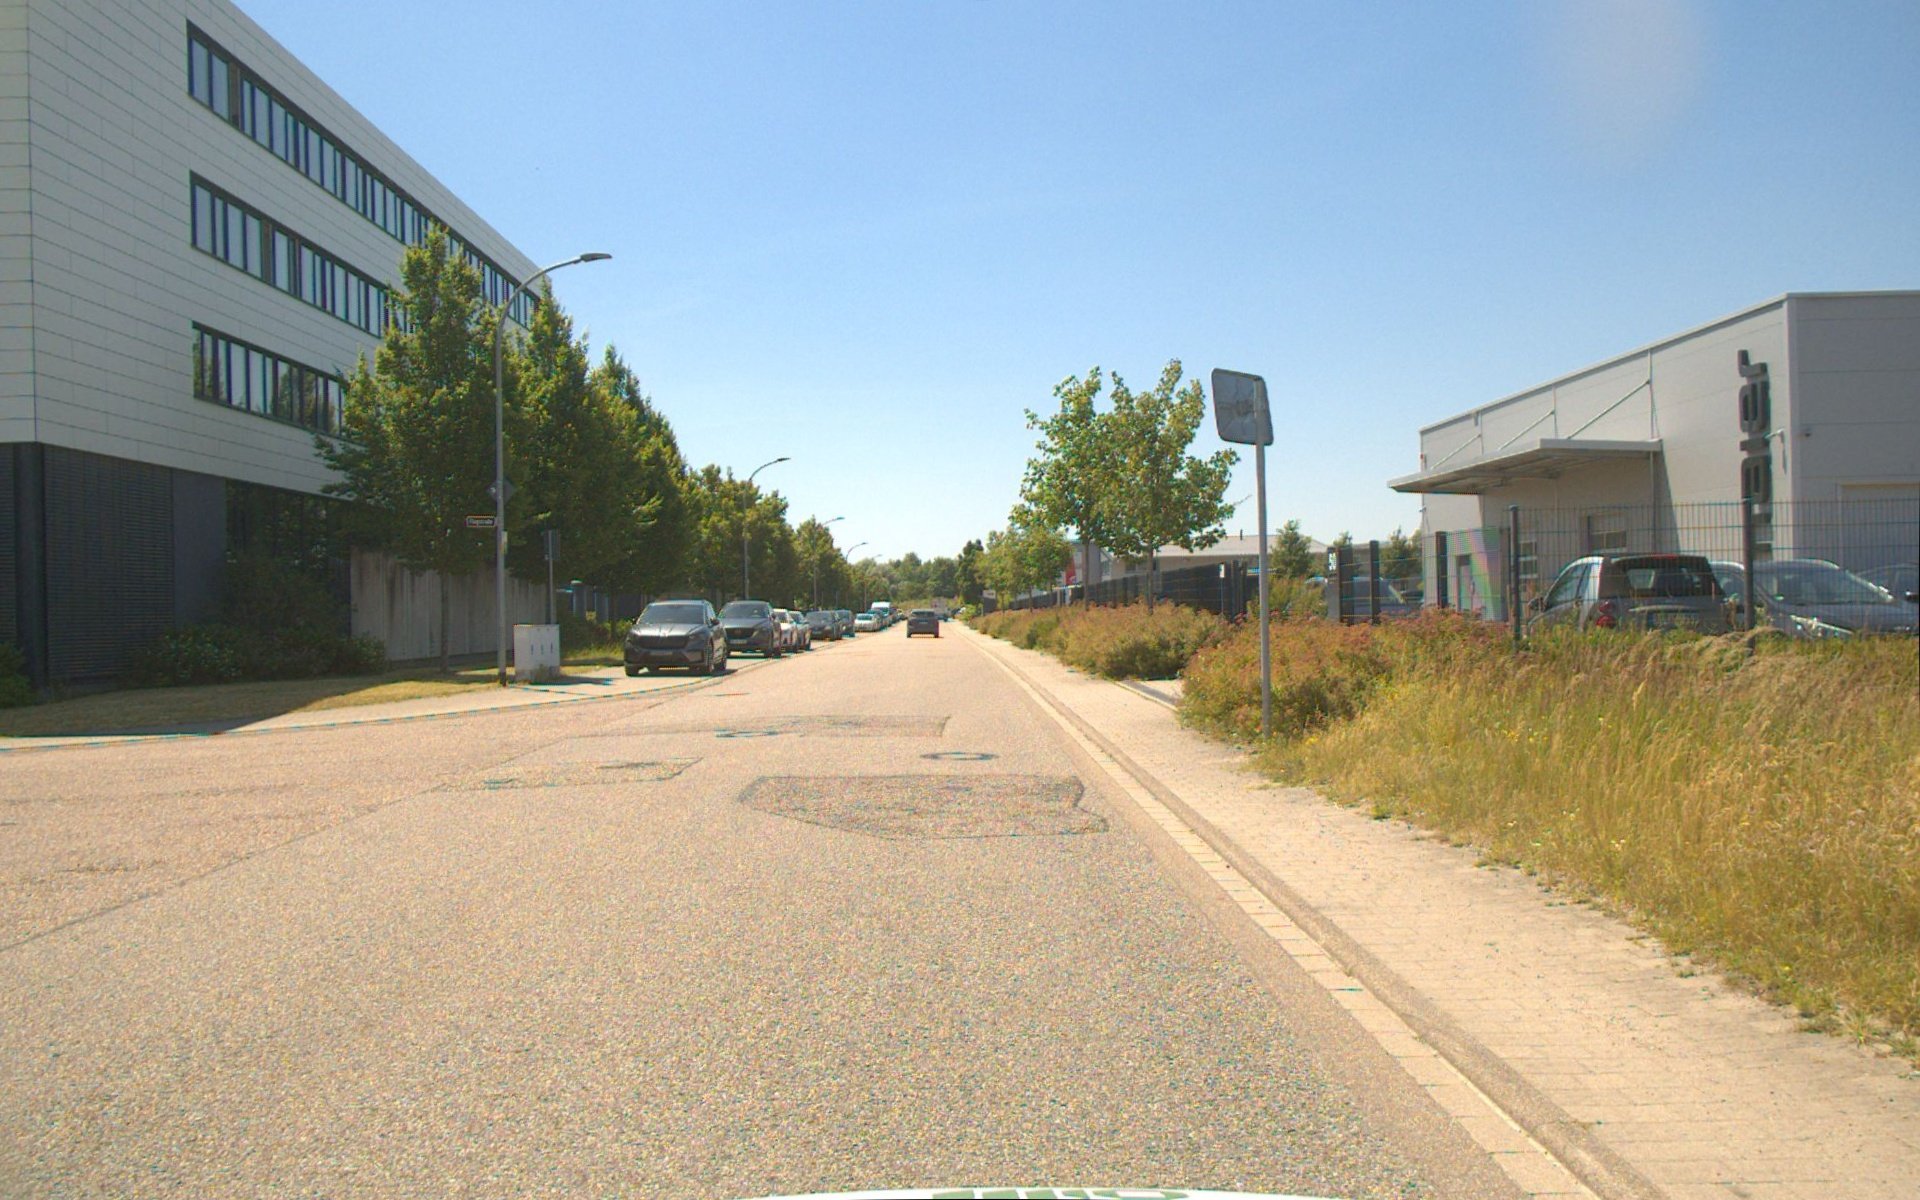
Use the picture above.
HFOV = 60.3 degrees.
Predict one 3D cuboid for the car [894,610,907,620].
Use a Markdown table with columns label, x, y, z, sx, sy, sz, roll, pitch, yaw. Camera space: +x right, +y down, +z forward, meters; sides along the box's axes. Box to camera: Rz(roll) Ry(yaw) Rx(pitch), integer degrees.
| label | x | y | z | sx | sy | sz | roll | pitch | yaw |
| --- | --- | --- | --- | --- | --- | --- | --- | --- | --- |
| car | -9.177 | 2.272 | 253.668 | 1.762 | 1.513 | 4.252 | -1 | 0 | 1 |

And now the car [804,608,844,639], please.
| label | x | y | z | sx | sy | sz | roll | pitch | yaw |
| --- | --- | --- | --- | --- | --- | --- | --- | --- | --- |
| car | -6.906 | 1.167 | 84.427 | 1.735 | 1.456 | 4.200 | -1 | 1 | -1 |

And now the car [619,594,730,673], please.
| label | x | y | z | sx | sy | sz | roll | pitch | yaw |
| --- | --- | --- | --- | --- | --- | --- | --- | --- | --- |
| car | -6.271 | 0.719 | 36.790 | 1.735 | 1.615 | 4.480 | -1 | -1 | -1 |

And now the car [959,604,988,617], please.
| label | x | y | z | sx | sy | sz | roll | pitch | yaw |
| --- | --- | --- | --- | --- | --- | --- | --- | --- | --- |
| car | 1.773 | 1.435 | 222.585 | 3.799 | 1.780 | 1.750 | 1 | -1 | -4 |

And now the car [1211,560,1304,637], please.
| label | x | y | z | sx | sy | sz | roll | pitch | yaw |
| --- | --- | --- | --- | --- | --- | --- | --- | --- | --- |
| car | 8.764 | -0.034 | 49.014 | 1.839 | 2.123 | 4.224 | -3 | 0 | -1 |

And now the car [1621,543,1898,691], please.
| label | x | y | z | sx | sy | sz | roll | pitch | yaw |
| --- | --- | --- | --- | --- | --- | --- | --- | --- | --- |
| car | 9.190 | 0.199 | 19.300 | 1.484 | 1.522 | 3.330 | -2 | -1 | -2 |

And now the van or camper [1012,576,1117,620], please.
| label | x | y | z | sx | sy | sz | roll | pitch | yaw |
| --- | --- | --- | --- | --- | --- | --- | --- | --- | --- |
| van or camper | 6.788 | -0.110 | 107.971 | 6.621 | 2.630 | 2.635 | -2 | -1 | -2 |

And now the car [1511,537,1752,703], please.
| label | x | y | z | sx | sy | sz | roll | pitch | yaw |
| --- | --- | --- | --- | --- | --- | --- | --- | --- | --- |
| car | 7.143 | 0.212 | 17.830 | 1.437 | 1.601 | 2.661 | -2 | -1 | -1 |

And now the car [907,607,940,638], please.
| label | x | y | z | sx | sy | sz | roll | pitch | yaw |
| --- | --- | --- | --- | --- | --- | --- | --- | --- | --- |
| car | -2.024 | 1.253 | 92.494 | 1.753 | 1.652 | 3.808 | 1 | -1 | -1 |

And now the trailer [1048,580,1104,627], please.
| label | x | y | z | sx | sy | sz | roll | pitch | yaw |
| --- | --- | --- | --- | --- | --- | --- | --- | --- | --- |
| trailer | 6.416 | 0.181 | 91.639 | 2.767 | 2.445 | 1.418 | -3 | -1 | -5 |

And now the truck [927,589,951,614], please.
| label | x | y | z | sx | sy | sz | roll | pitch | yaw |
| --- | --- | --- | --- | --- | --- | --- | --- | --- | --- |
| truck | -2.597 | 0.228 | 207.342 | 2.873 | 3.026 | 6.418 | 1 | -1 | -1 |

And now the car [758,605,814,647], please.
| label | x | y | z | sx | sy | sz | roll | pitch | yaw |
| --- | --- | --- | --- | --- | --- | --- | --- | --- | --- |
| car | -6.482 | 0.936 | 61.930 | 1.735 | 1.456 | 3.939 | -1 | 1 | -1 |

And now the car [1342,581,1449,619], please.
| label | x | y | z | sx | sy | sz | roll | pitch | yaw |
| --- | --- | --- | --- | --- | --- | --- | --- | --- | --- |
| car | 18.195 | 0.010 | 69.212 | 3.907 | 1.427 | 1.818 | -2 | -1 | -2 |

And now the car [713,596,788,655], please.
| label | x | y | z | sx | sy | sz | roll | pitch | yaw |
| --- | --- | --- | --- | --- | --- | --- | --- | --- | --- |
| car | -6.277 | 0.721 | 50.039 | 1.735 | 1.652 | 4.581 | -1 | 1 | -1 |

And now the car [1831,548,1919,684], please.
| label | x | y | z | sx | sy | sz | roll | pitch | yaw |
| --- | --- | --- | --- | --- | --- | --- | --- | --- | --- |
| car | 11.480 | 0.159 | 18.595 | 1.484 | 1.522 | 3.330 | -2 | -1 | -2 |

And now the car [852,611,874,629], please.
| label | x | y | z | sx | sy | sz | roll | pitch | yaw |
| --- | --- | --- | --- | --- | --- | --- | --- | --- | --- |
| car | -7.895 | 1.627 | 134.833 | 1.686 | 1.502 | 3.855 | -1 | -1 | -3 |

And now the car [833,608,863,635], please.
| label | x | y | z | sx | sy | sz | roll | pitch | yaw |
| --- | --- | --- | --- | --- | --- | --- | --- | --- | --- |
| car | -6.923 | 1.306 | 102.599 | 1.735 | 1.640 | 4.245 | -1 | -1 | -2 |

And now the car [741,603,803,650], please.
| label | x | y | z | sx | sy | sz | roll | pitch | yaw |
| --- | --- | --- | --- | --- | --- | --- | --- | --- | --- |
| car | -6.453 | 0.887 | 57.190 | 1.735 | 1.456 | 4.200 | -1 | 1 | -1 |
